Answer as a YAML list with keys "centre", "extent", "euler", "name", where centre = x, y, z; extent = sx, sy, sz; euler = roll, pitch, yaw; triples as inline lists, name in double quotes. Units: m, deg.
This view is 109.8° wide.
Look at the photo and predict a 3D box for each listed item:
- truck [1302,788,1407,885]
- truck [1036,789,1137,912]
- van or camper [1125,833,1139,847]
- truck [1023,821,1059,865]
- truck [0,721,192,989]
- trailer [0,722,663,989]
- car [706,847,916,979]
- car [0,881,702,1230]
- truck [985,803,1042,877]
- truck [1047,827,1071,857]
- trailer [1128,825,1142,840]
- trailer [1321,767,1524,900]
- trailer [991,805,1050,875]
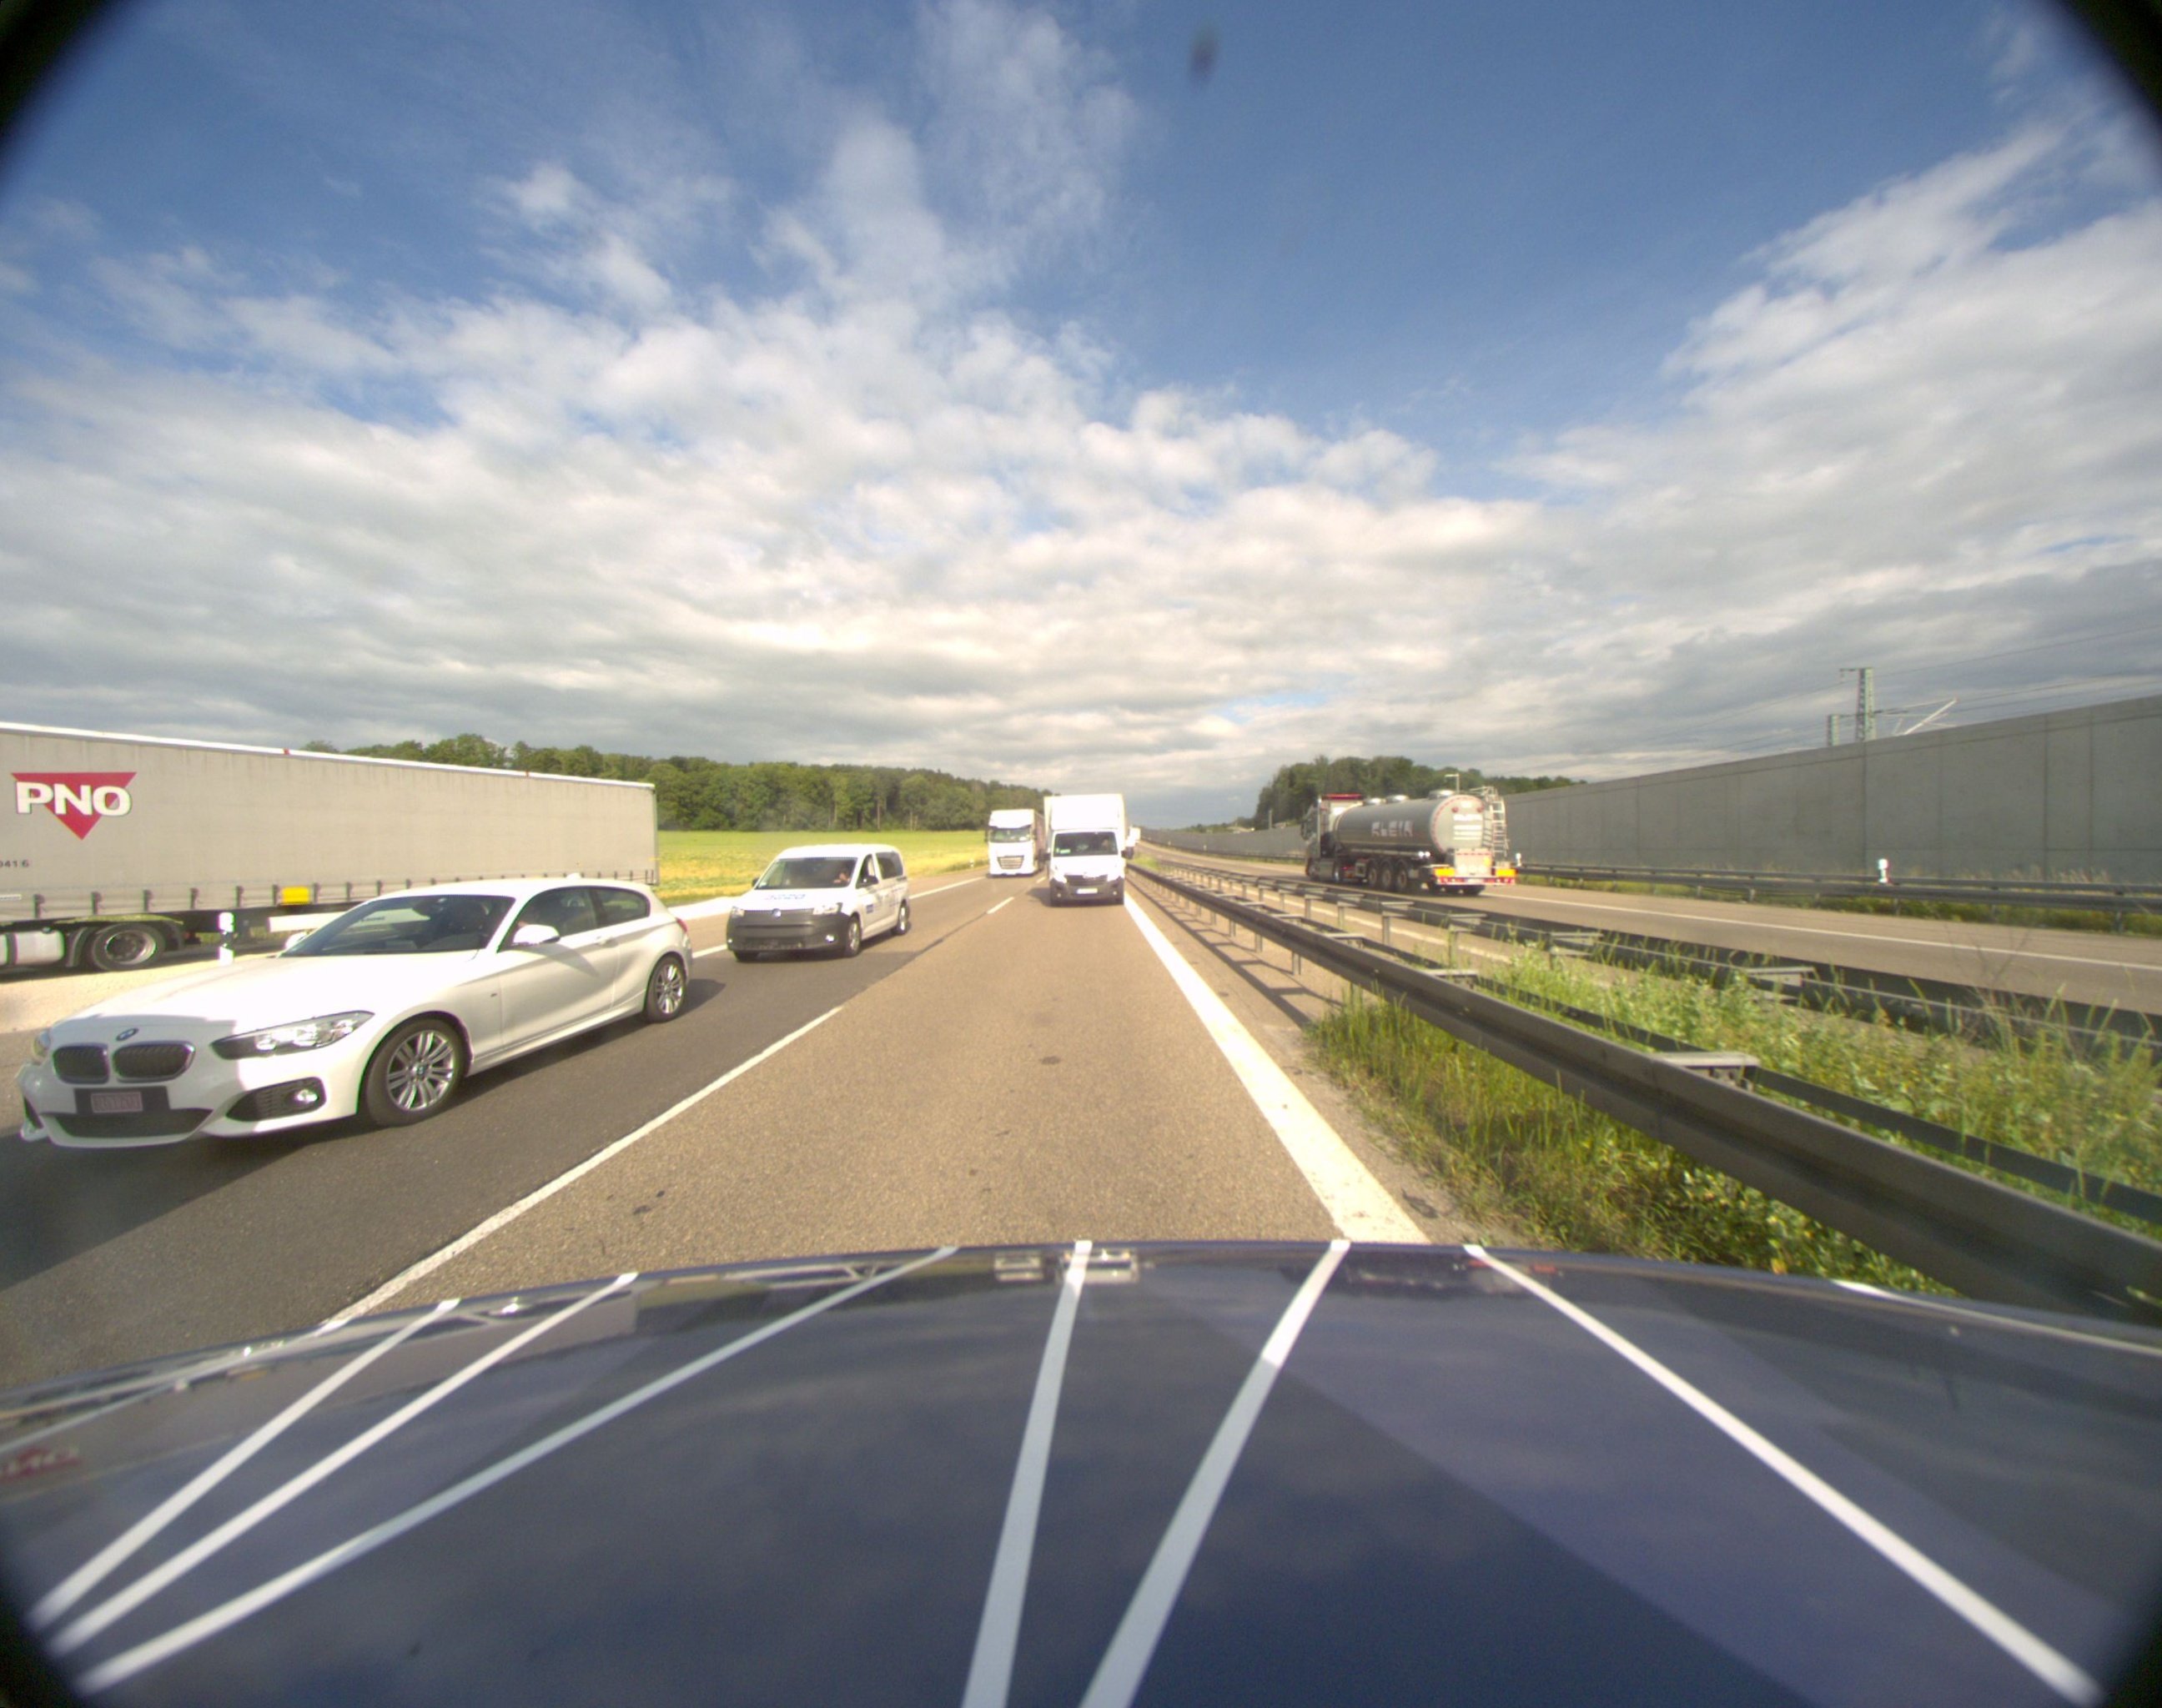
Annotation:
- centre: [11.794, -0.735, 33.357]
  extent: [2.589, 3.900, 5.721]
  euler: [0, 1, 1]
  name: "truck"
- centre: [0.184, -0.149, 25.588]
  extent: [2.500, 3.082, 12.037]
  euler: [-2, 1, 0]
  name: "truck"
- centre: [10.253, -2.804, 153.684]
  extent: [2.258, 2.688, 7.169]
  euler: [-1, 1, 0]
  name: "van or camper"
- centre: [-3.960, -1.133, 77.940]
  extent: [2.946, 4.094, 12.523]
  euler: [-1, 1, 0]
  name: "truck"
- centre: [-18.156, 0.059, 11.800]
  extent: [2.717, 4.150, 4.765]
  euler: [-2, 1, 15]
  name: "truck"
- centre: [-16.510, -0.059, 17.759]
  extent: [2.739, 4.136, 13.842]
  euler: [-2, 1, 15]
  name: "trailer"
- centre: [-4.268, 0.804, 12.921]
  extent: [1.729, 1.746, 4.702]
  euler: [-3, 1, 1]
  name: "car"
- centre: [-4.798, 1.035, 5.692]
  extent: [1.708, 1.424, 4.231]
  euler: [-2, 1, 1]
  name: "car"
- centre: [-3.967, -0.864, 46.149]
  extent: [2.736, 4.150, 5.766]
  euler: [-2, 1, 0]
  name: "truck"
- centre: [-3.184, -1.773, 114.750]
  extent: [2.946, 4.094, 16.206]
  euler: [-1, 1, 0]
  name: "truck"
- centre: [14.511, -5.740, 205.574]
  extent: [2.797, 4.054, 13.518]
  euler: [0, 1, 0]
  name: "trailer"
- centre: [11.727, -0.659, 27.712]
  extent: [2.594, 3.879, 10.863]
  euler: [0, 1, 0]
  name: "trailer"
- centre: [-3.915, -0.998, 52.448]
  extent: [2.742, 4.137, 14.015]
  euler: [-2, 1, 0]
  name: "trailer"
